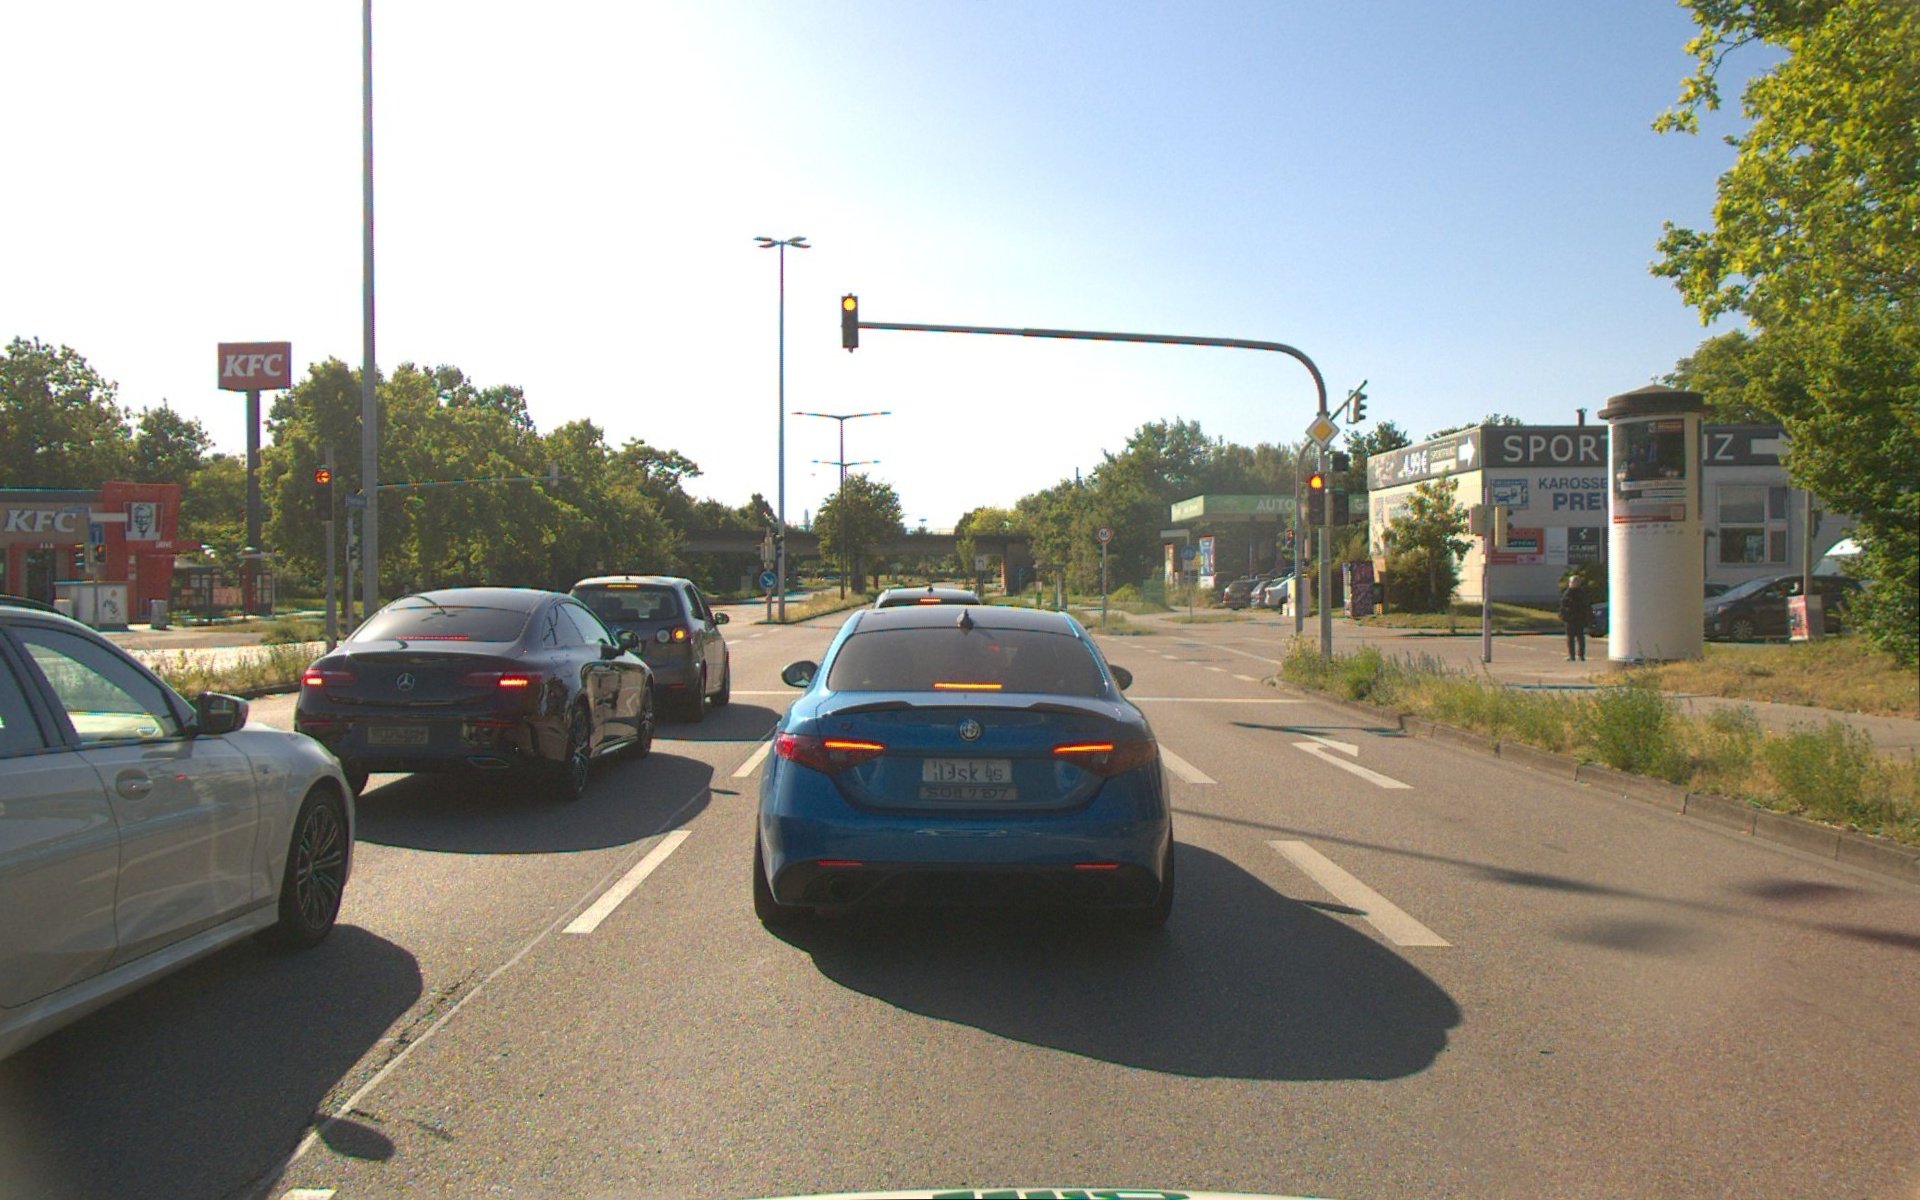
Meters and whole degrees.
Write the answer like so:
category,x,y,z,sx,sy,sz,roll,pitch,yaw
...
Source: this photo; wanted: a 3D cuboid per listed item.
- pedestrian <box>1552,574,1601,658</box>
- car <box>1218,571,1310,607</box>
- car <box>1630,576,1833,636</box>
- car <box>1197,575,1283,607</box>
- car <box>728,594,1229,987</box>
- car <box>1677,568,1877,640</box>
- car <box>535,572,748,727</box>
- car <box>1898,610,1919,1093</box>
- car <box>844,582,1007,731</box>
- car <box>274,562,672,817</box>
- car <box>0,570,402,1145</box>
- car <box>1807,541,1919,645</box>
category,x,y,z,sx,sy,sz,roll,pitch,yaw
pedestrian,12.687,0.326,34.029,0.800,1.698,0.514,1,-1,-1
car,14.127,-0.493,76.898,3.905,1.579,2.000,1,0,0
car,20.902,0.161,44.899,4.722,1.493,1.758,1,0,-3
car,14.457,-0.464,85.503,3.925,1.579,1.990,1,0,-18
car,0.101,0.726,8.112,1.870,1.447,3.719,1,0,1
car,20.474,0.100,41.537,4.219,1.678,1.637,1,0,-2
car,-3.587,0.520,19.363,1.776,1.578,4.351,1,0,-2
car,3.813,0.790,2.983,1.699,1.467,4.370,1,0,-1
car,-0.326,0.594,19.099,1.669,1.523,3.719,1,0,1
car,-3.436,0.546,12.611,1.775,1.578,4.542,1,0,-1
car,-3.406,0.664,5.156,1.775,1.512,4.596,0,0,0
car,26.473,-0.214,45.078,5.715,2.719,2.000,-1,0,0
